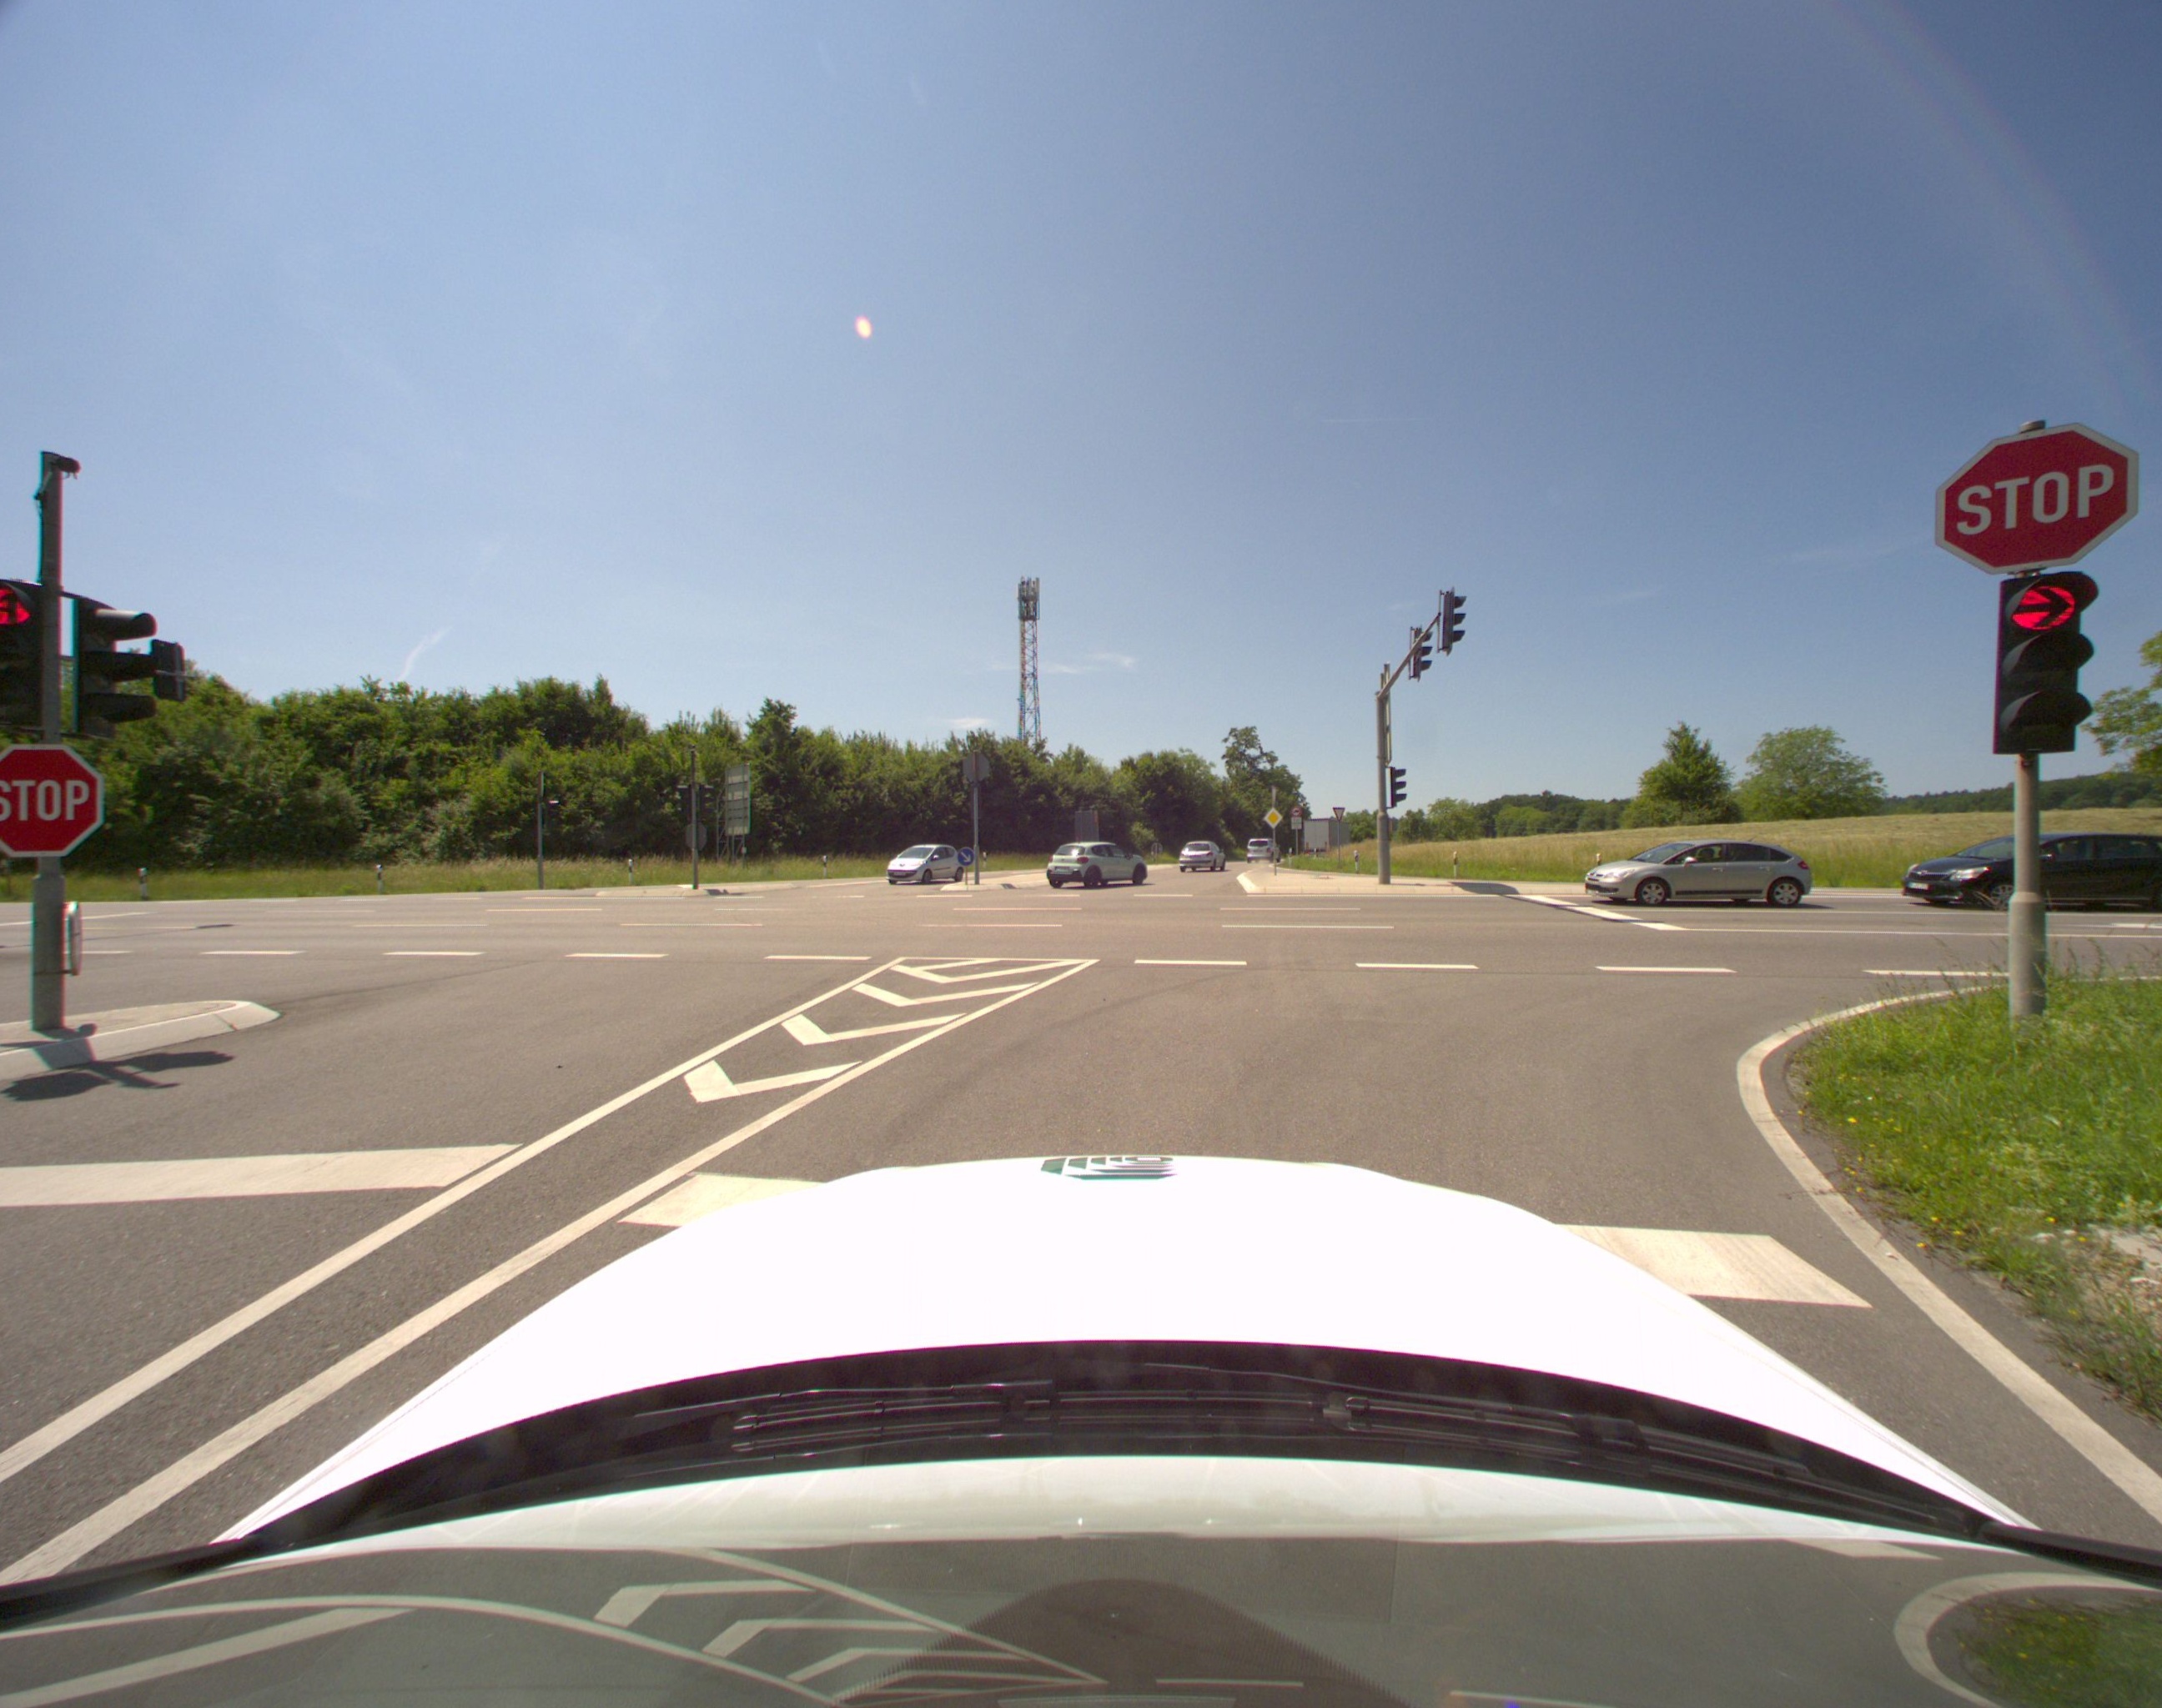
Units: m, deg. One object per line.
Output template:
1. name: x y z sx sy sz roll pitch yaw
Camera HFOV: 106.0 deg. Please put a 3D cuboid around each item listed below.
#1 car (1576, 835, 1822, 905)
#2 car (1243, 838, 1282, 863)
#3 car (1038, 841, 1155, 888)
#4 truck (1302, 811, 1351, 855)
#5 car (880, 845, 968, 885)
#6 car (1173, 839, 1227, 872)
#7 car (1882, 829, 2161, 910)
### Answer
1. car: 13.841 0.329 18.489 4.130 1.469 1.735 0 2 10
2. car: 12.588 -0.275 56.347 1.796 1.624 4.083 -1 1 24
3. car: 0.581 0.333 27.309 1.712 1.404 4.011 -2 0 41
4. truck: 26.382 -2.116 86.740 3.098 4.172 16.779 -1 0 23
5. car: -5.902 0.367 30.966 1.551 1.370 3.551 0 1 22
6. car: 5.726 0.048 38.854 1.797 1.413 3.803 0 2 19
7. car: 20.073 0.286 17.116 4.337 1.553 1.736 0 2 13
